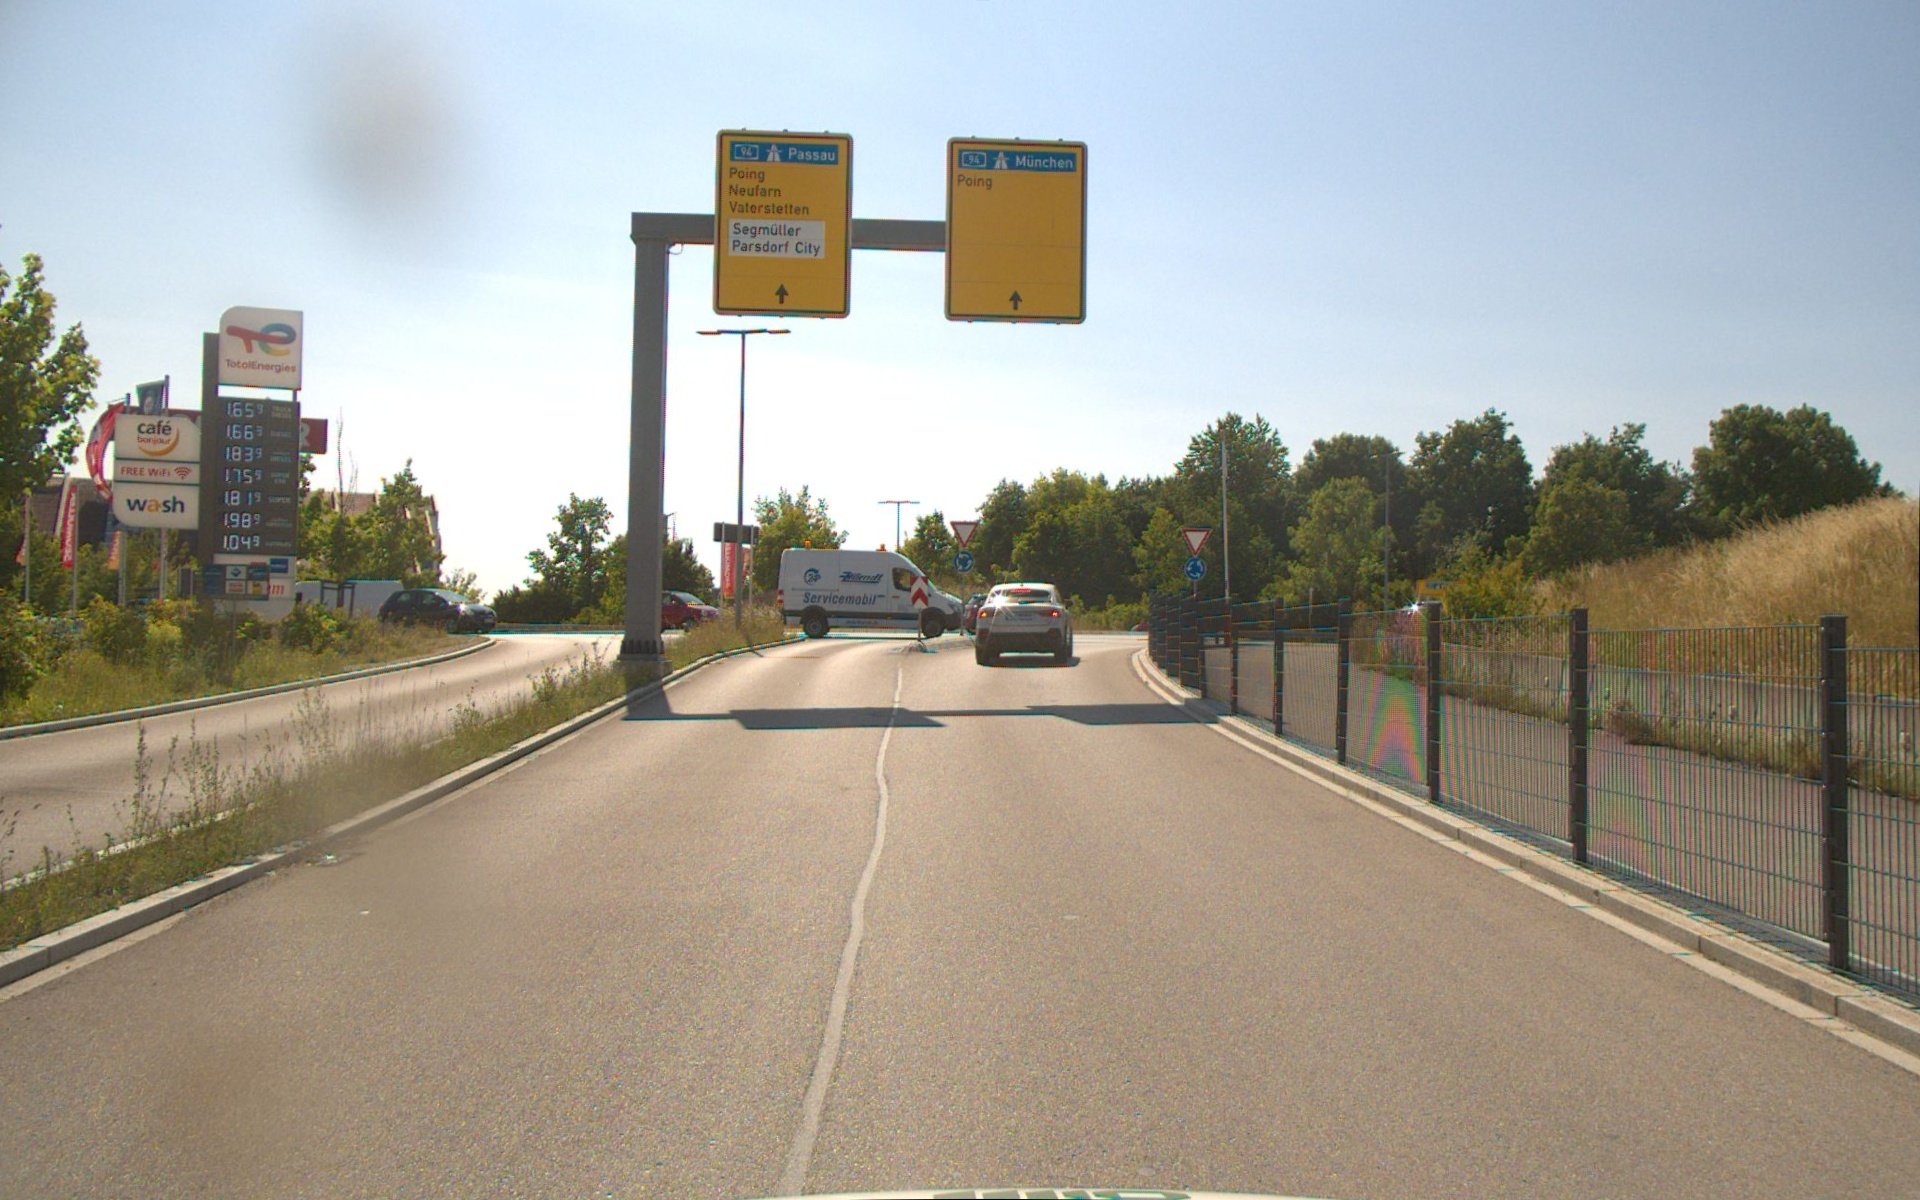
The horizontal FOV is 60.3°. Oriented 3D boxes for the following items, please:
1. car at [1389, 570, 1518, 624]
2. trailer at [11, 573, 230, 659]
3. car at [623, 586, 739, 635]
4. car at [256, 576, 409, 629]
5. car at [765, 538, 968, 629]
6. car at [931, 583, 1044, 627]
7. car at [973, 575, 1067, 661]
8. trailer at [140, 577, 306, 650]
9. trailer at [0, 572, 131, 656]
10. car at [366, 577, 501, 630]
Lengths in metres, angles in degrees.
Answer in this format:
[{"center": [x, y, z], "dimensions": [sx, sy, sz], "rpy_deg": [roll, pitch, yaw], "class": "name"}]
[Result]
[{"center": [16.934, -0.101, 56.853], "dimensions": [3.769, 1.747, 1.999], "rpy_deg": [1, -1, -4], "class": "car"}, {"center": [-16.971, 0.340, 33.501], "dimensions": [3.657, 1.477, 1.685], "rpy_deg": [5, -3, -37], "class": "trailer"}, {"center": [-10.005, 0.390, 59.286], "dimensions": [3.647, 1.646, 1.872], "rpy_deg": [1, -1, 22], "class": "car"}, {"center": [-28.610, 0.124, 75.530], "dimensions": [6.198, 2.273, 2.016], "rpy_deg": [2, -1, -34], "class": "car"}, {"center": [-2.827, -0.495, 51.087], "dimensions": [6.046, 2.599, 2.090], "rpy_deg": [1, -1, 1], "class": "car"}, {"center": [0.959, 0.179, 58.971], "dimensions": [3.738, 1.430, 1.621], "rpy_deg": [1, -1, -12], "class": "car"}, {"center": [1.229, 0.360, 33.947], "dimensions": [1.803, 1.624, 4.326], "rpy_deg": [0, 0, 2], "class": "car"}, {"center": [-19.067, 0.302, 42.847], "dimensions": [3.658, 1.803, 1.784], "rpy_deg": [-1, 1, -37], "class": "trailer"}, {"center": [-20.647, 0.305, 36.819], "dimensions": [3.657, 1.803, 1.784], "rpy_deg": [2, -1, -37], "class": "trailer"}, {"center": [-17.524, 0.111, 55.156], "dimensions": [3.866, 1.646, 1.819], "rpy_deg": [1, -1, 3], "class": "car"}]
